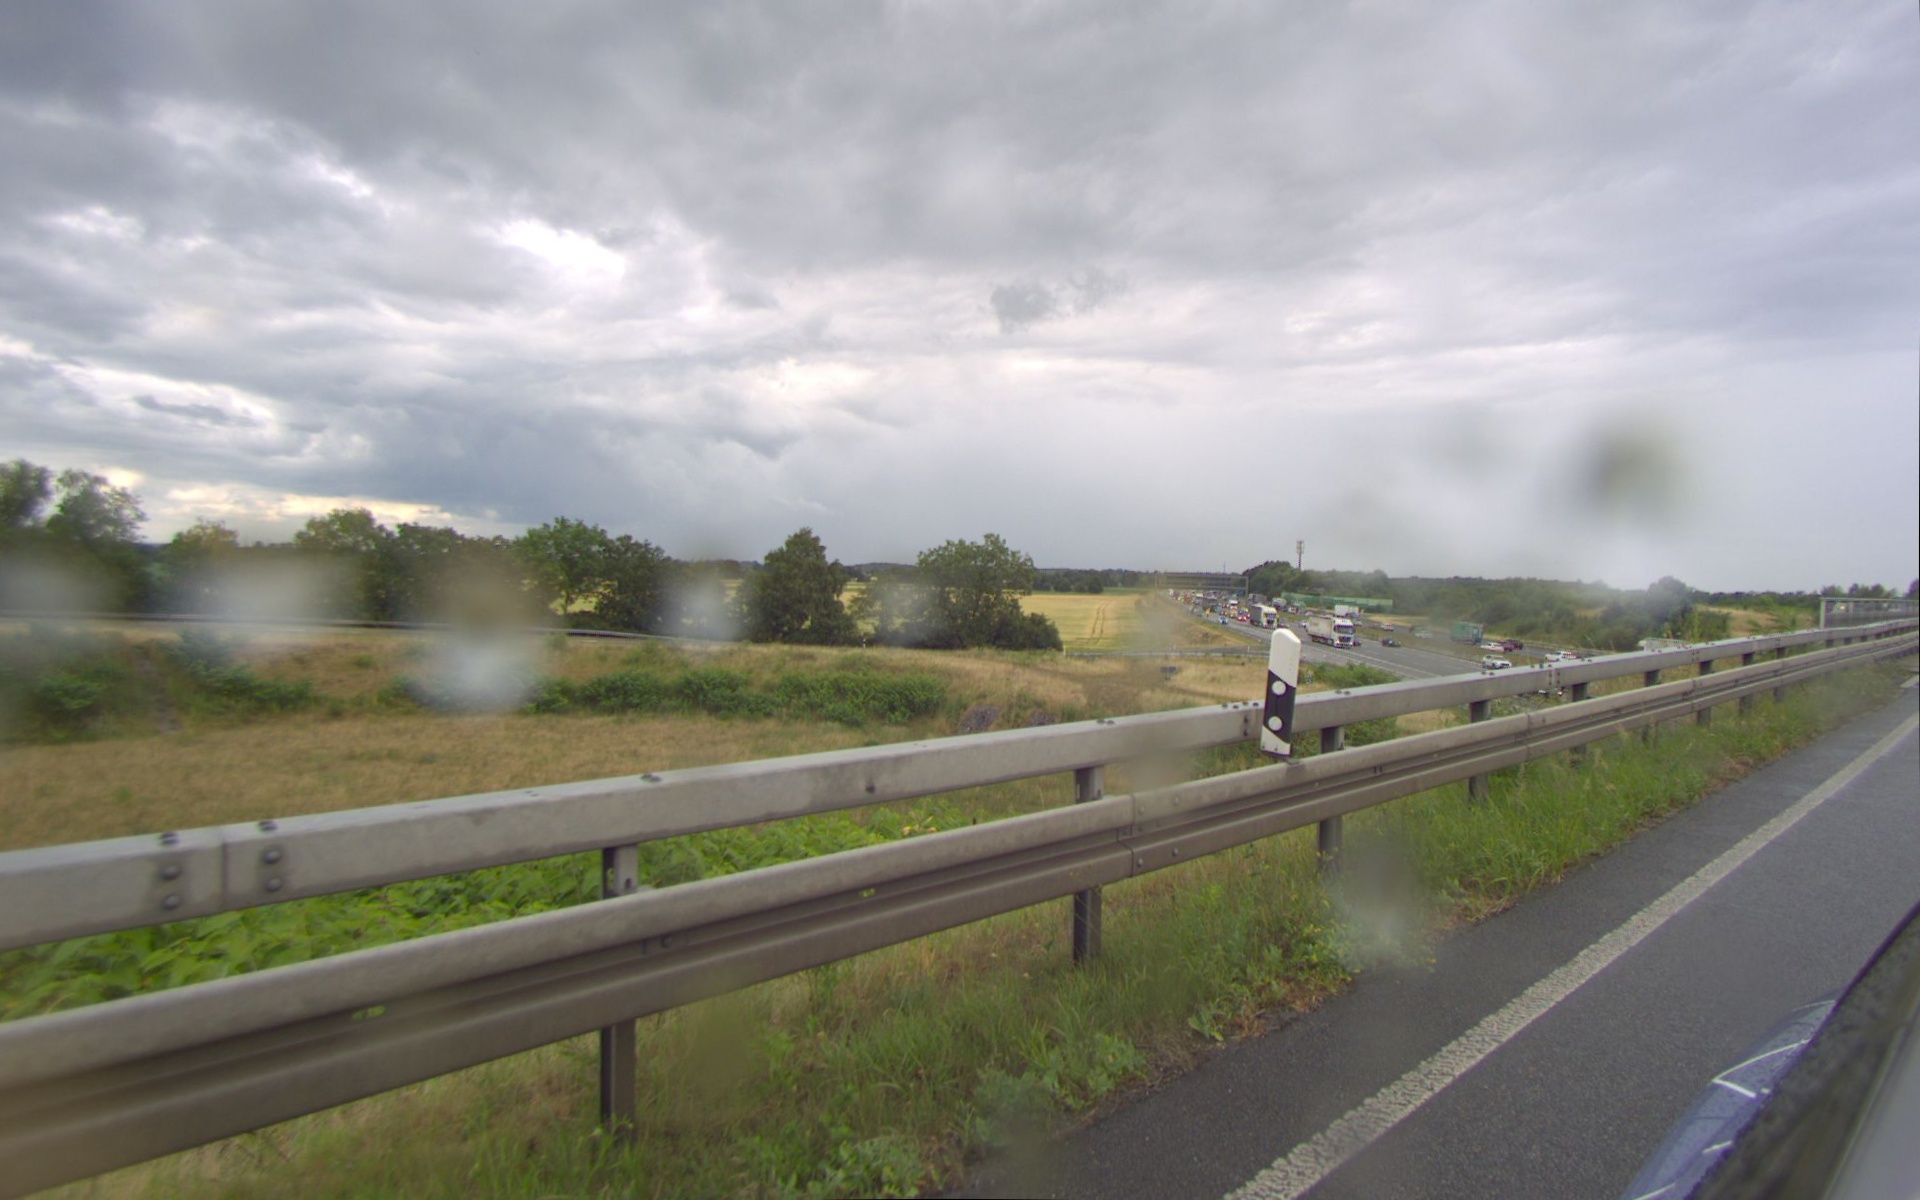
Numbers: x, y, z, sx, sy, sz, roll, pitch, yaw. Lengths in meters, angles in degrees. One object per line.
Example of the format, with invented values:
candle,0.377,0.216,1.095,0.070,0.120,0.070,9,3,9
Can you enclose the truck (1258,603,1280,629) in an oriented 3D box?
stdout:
truck,60.357,3.064,197.751,2.750,4.676,12.716,0,0,11

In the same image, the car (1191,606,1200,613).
car,59.239,2.313,254.656,1.825,1.690,4.714,0,0,7

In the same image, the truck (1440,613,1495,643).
truck,87.049,4.705,173.942,3.544,4.594,15.594,0,0,8

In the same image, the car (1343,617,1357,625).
car,84.879,4.532,220.161,1.825,1.690,4.714,0,0,7

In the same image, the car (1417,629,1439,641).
car,78.288,5.814,169.327,1.824,1.690,4.717,0,0,5

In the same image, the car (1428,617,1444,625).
car,106.904,4.671,227.232,1.825,1.690,4.714,0,0,7

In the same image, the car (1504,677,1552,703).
car,47.008,7.399,83.852,1.825,1.690,4.714,0,0,7

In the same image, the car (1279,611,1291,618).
car,77.627,3.446,241.675,1.825,1.690,4.714,0,0,7

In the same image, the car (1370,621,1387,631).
car,80.853,5.060,195.514,1.825,1.690,4.714,0,0,7

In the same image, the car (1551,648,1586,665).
car,73.528,6.821,122.349,1.824,1.690,4.717,0,0,5

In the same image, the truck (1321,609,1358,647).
truck,54.474,3.915,145.532,2.750,4.961,12.716,0,0,11

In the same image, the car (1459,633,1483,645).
car,81.412,6.183,161.296,1.824,1.690,4.717,0,0,5

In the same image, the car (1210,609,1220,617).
car,60.220,3.052,238.883,1.825,1.690,4.715,1,1,7

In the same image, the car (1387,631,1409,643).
car,66.836,5.645,154.556,1.825,1.690,4.714,0,0,7

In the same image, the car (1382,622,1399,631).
car,86.431,5.321,203.216,1.825,1.690,4.714,0,0,7

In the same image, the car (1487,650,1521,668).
car,61.956,6.701,115.299,1.966,1.643,3.991,-4,-1,7

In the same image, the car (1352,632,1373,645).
car,59.603,5.657,149.890,1.825,1.690,4.714,0,0,7

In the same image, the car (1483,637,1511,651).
car,74.971,6.147,141.327,1.824,1.690,4.717,0,0,5

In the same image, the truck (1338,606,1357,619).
truck,93.978,3.097,245.636,2.175,3.003,9.289,0,0,7

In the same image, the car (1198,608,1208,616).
car,58.048,2.898,241.394,1.825,1.690,4.714,0,0,7

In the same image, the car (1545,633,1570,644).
car,101.589,6.565,172.098,1.825,1.690,4.714,0,0,7

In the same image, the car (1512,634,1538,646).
car,90.218,6.336,161.570,1.824,1.690,4.717,0,0,5

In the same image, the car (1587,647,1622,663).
car,82.028,6.971,128.919,1.824,1.690,4.717,0,0,5

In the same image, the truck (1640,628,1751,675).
truck,85.008,5.788,117.523,3.540,4.594,14.084,0,0,5

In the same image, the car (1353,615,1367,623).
car,89.333,4.309,225.974,1.825,1.690,4.714,0,0,7

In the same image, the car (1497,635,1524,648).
car,81.627,6.178,150.060,1.824,1.690,4.717,0,0,5
